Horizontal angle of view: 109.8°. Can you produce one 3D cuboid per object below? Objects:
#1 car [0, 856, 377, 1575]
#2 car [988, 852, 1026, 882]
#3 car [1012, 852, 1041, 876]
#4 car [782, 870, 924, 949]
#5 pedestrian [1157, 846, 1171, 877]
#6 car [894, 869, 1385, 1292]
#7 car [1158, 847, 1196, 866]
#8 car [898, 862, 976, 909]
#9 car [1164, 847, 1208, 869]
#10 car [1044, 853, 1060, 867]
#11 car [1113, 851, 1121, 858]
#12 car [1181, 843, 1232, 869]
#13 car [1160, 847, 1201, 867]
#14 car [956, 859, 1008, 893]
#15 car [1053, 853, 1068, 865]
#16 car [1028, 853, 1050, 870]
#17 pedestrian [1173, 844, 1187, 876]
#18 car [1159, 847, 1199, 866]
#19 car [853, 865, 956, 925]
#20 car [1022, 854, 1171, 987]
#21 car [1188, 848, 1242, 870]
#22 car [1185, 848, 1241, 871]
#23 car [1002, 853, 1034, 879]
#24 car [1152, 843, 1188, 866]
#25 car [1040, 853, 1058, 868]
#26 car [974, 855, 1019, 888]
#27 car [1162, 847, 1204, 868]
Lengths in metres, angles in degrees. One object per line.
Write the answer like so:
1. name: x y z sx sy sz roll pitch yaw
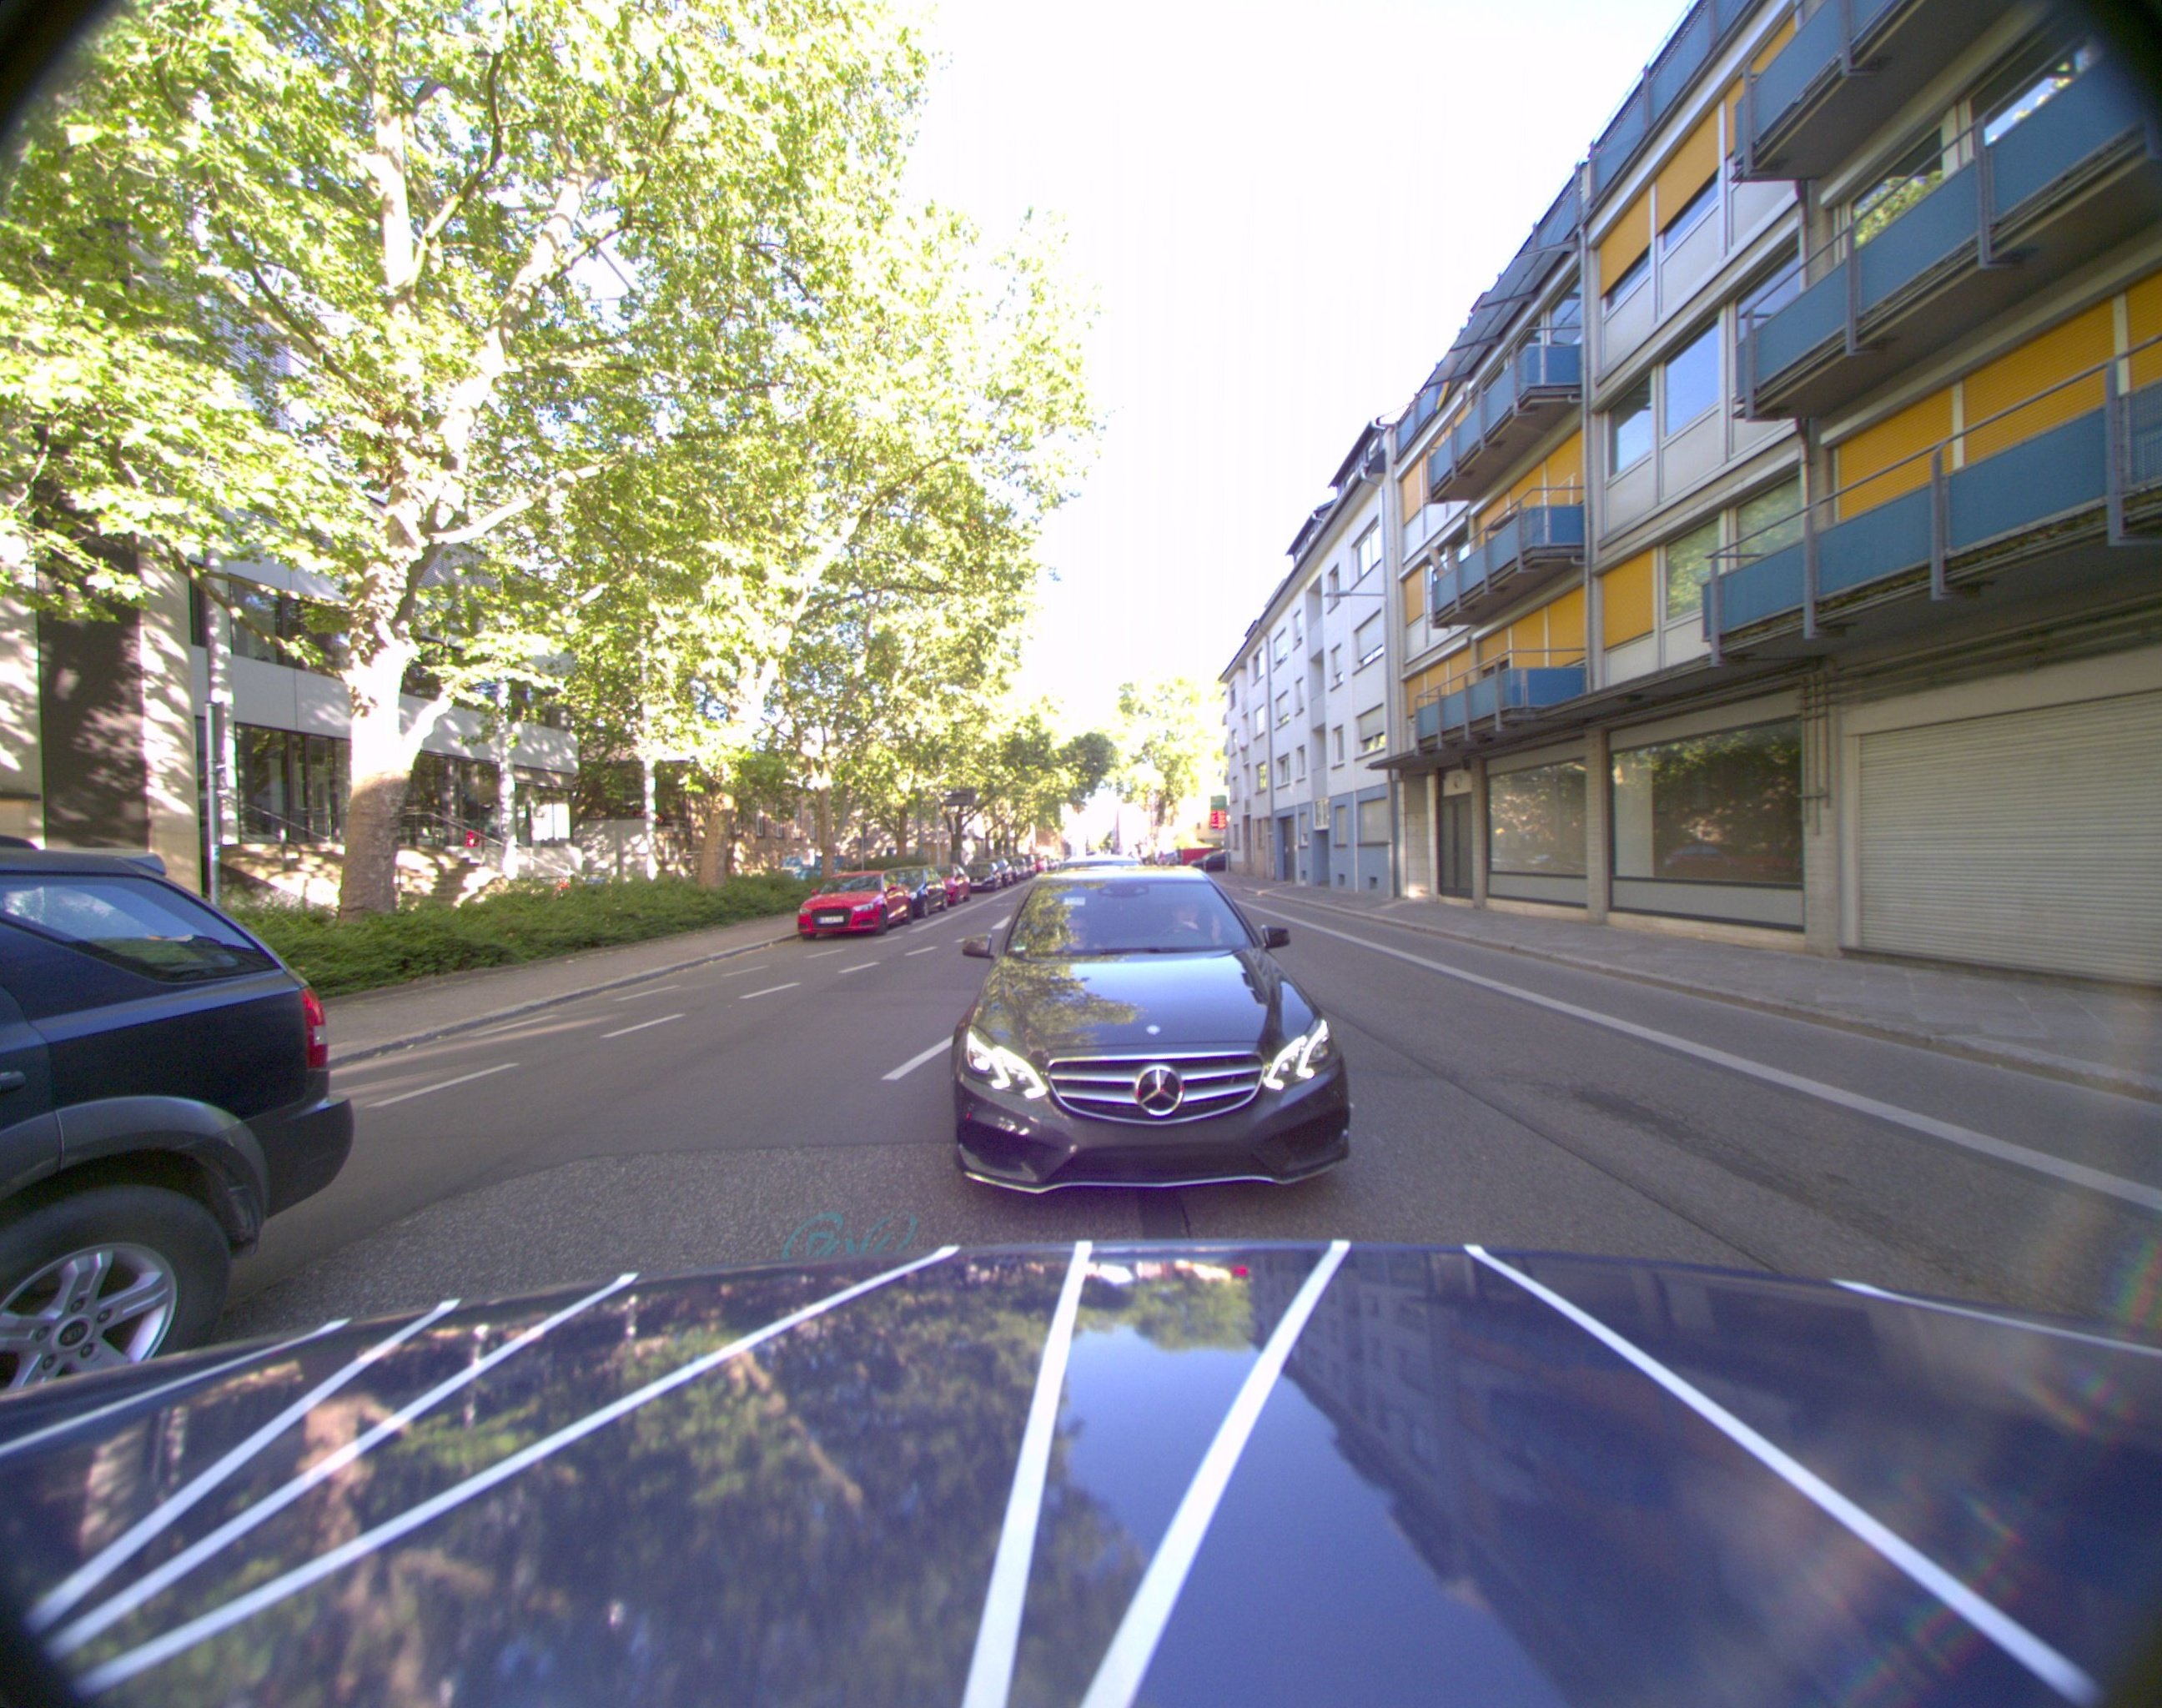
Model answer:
1. car: -3.622 0.924 0.595 1.866 1.753 4.481 -2 0 1
2. car: -4.627 0.782 48.119 1.866 1.749 4.481 -2 0 1
3. car: -4.239 0.754 59.741 1.866 1.749 4.481 -2 0 1
4. car: -5.100 1.176 17.717 1.866 1.442 4.481 -2 0 1
5. pedestrian: 5.424 0.476 49.744 0.735 2.002 0.797 -2 1 1
6. car: 0.260 0.930 5.202 1.866 1.492 4.481 -2 0 1
7. car: 10.744 0.240 84.964 3.996 1.936 2.000 -2 1 2
8. car: -5.083 1.063 27.411 1.866 1.442 4.481 -2 0 1
9. car: 10.255 0.376 74.490 3.996 1.936 2.000 -2 1 2
10. car: -3.662 0.742 96.762 1.866 1.632 4.481 -2 0 1
11. car: 8.817 0.142 186.827 1.866 1.632 4.481 -2 0 1
12. car: 10.555 0.153 64.009 3.996 1.936 2.000 -2 1 2
13. car: 10.469 0.306 79.982 3.996 1.936 2.000 -2 1 2
14. car: -4.751 1.023 37.158 1.866 1.442 4.481 -2 0 1
15. car: -2.828 0.652 105.169 1.866 1.632 4.481 -2 0 1
16. car: -4.191 0.703 76.264 1.866 1.632 4.481 -2 0 1
17. pedestrian: 6.450 0.389 49.607 0.735 2.002 1.046 -2 1 1
18. car: 10.598 0.274 82.470 3.996 1.936 2.000 -2 1 2
19. car: -5.040 1.122 22.367 1.866 1.442 4.481 -2 0 1
20. car: 0.228 0.856 11.916 1.866 1.630 4.303 -2 0 1
21. car: 10.722 0.375 61.177 3.996 1.543 2.000 -2 1 2
22. car: 10.181 0.422 58.855 3.996 1.543 2.000 -2 1 2
23. car: -4.496 0.817 54.786 1.866 1.749 4.481 -2 0 1
24. car: 10.498 0.002 89.492 3.996 2.505 2.000 -2 1 2
25. car: -3.776 0.720 89.961 1.866 1.632 4.481 -2 0 1
26. car: -4.615 0.905 42.193 1.866 1.658 4.481 -2 0 1
27. car: 10.340 0.343 77.131 3.996 1.936 2.000 -2 1 2
